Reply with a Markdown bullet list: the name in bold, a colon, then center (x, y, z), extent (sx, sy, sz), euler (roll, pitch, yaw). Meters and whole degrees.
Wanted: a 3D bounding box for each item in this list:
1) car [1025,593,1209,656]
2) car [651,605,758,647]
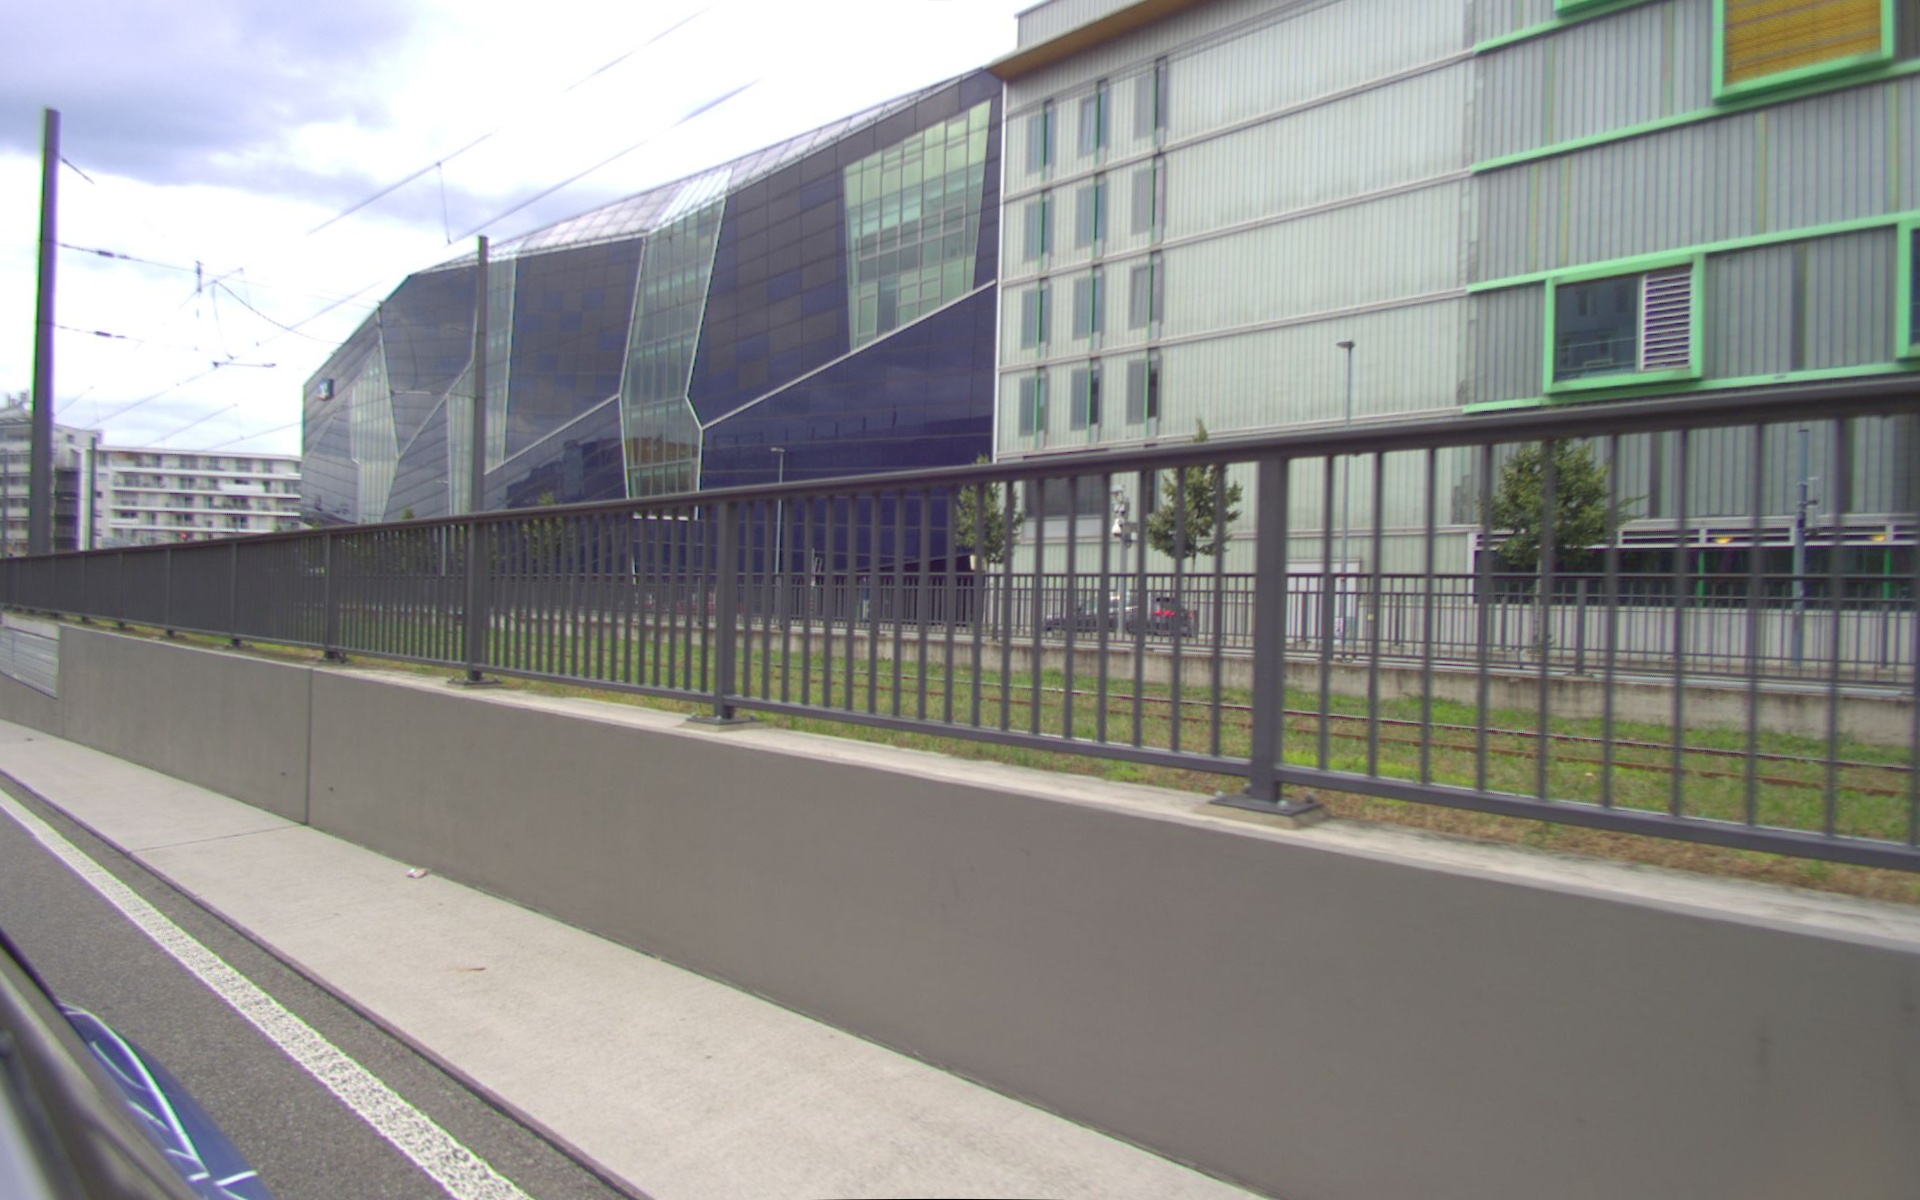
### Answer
- **car**: center (4.254, 0.691, 27.997), extent (4.766, 1.605, 1.972), euler (-2, -2, 43)
- **car**: center (-10.418, 1.045, 41.047), extent (4.767, 1.605, 1.972), euler (-2, -2, 43)
